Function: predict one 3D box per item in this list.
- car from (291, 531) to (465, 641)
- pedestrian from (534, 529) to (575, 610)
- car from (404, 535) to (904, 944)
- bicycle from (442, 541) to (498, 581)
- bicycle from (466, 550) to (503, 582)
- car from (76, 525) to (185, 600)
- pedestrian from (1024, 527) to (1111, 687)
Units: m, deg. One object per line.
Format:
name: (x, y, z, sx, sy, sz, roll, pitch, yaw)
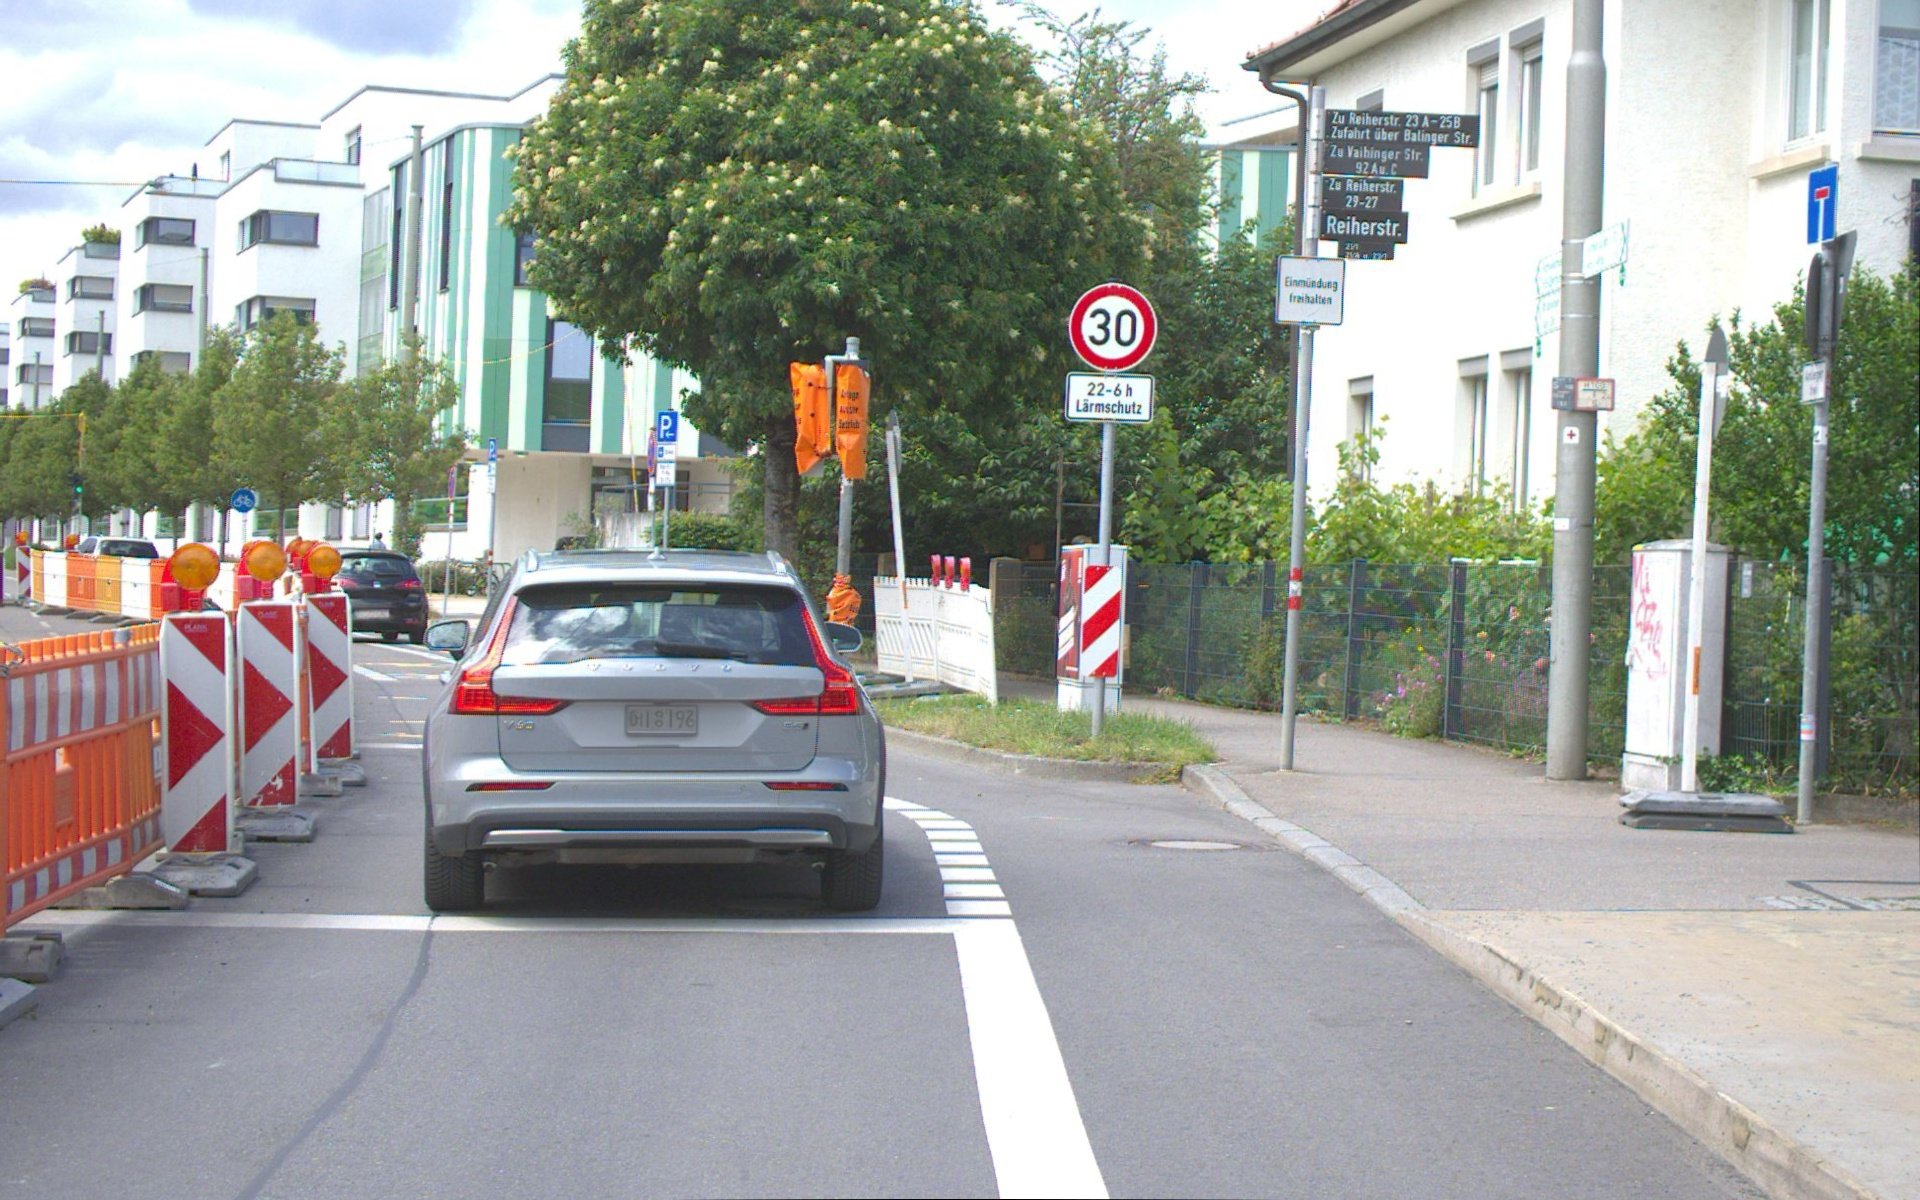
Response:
car: (-9.013, -0.240, 53.008, 1.854, 1.508, 4.001, 3, 1, -20)
pedestrian: (-7.873, -0.590, 66.727, 0.580, 1.546, 0.869, 1, 1, -20)
car: (-1.260, 0.492, 14.953, 1.854, 1.508, 4.001, 1, 1, -3)
bicycle: (-13.169, -1.055, 92.331, 1.464, 1.042, 0.307, 1, 1, -32)
bicycle: (-12.630, -0.893, 91.380, 0.307, 0.839, 1.023, 2, 1, 38)
car: (-18.611, -0.857, 77.005, 1.844, 1.508, 4.001, 3, 1, -20)
pedestrian: (1.047, 0.061, 33.590, 0.636, 1.534, 0.520, 2, 1, 45)
